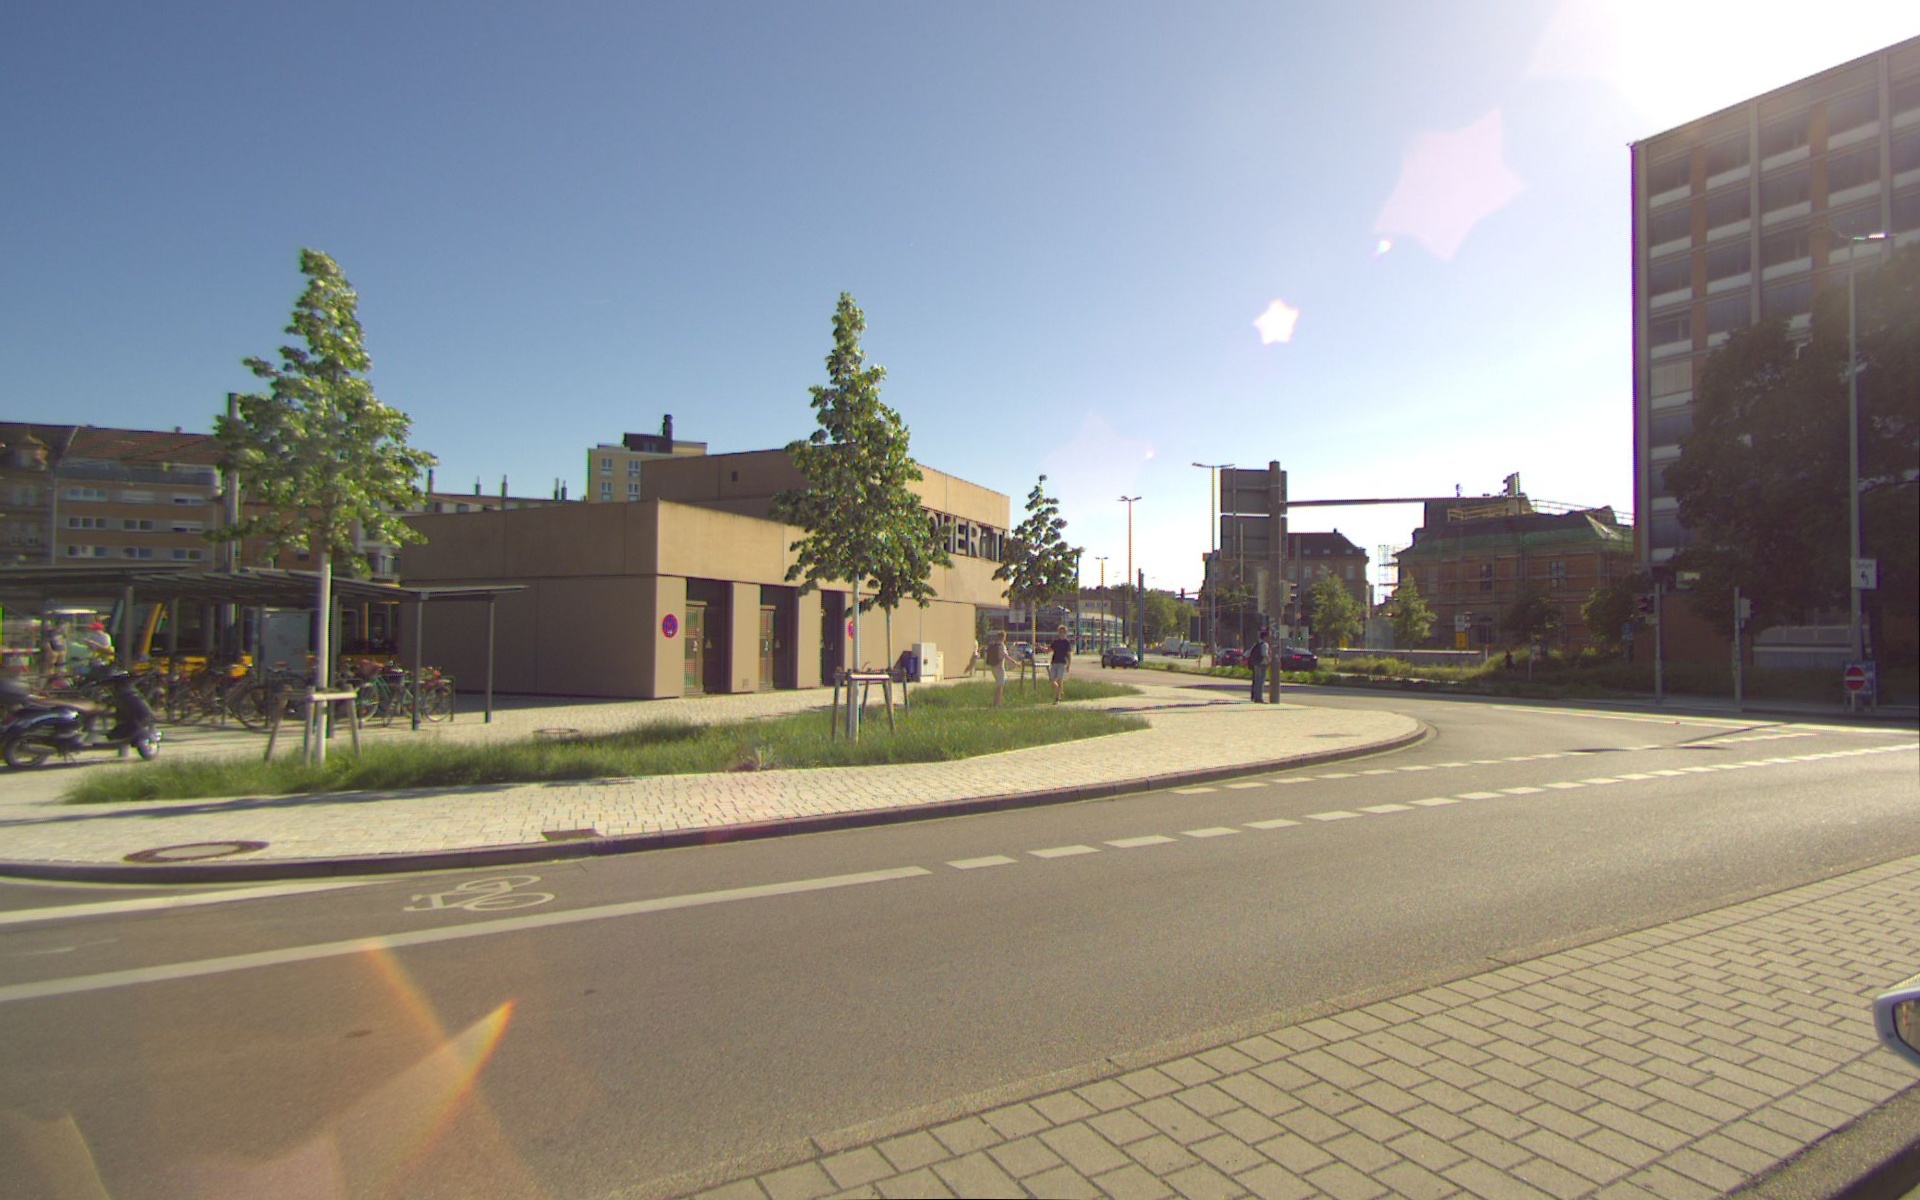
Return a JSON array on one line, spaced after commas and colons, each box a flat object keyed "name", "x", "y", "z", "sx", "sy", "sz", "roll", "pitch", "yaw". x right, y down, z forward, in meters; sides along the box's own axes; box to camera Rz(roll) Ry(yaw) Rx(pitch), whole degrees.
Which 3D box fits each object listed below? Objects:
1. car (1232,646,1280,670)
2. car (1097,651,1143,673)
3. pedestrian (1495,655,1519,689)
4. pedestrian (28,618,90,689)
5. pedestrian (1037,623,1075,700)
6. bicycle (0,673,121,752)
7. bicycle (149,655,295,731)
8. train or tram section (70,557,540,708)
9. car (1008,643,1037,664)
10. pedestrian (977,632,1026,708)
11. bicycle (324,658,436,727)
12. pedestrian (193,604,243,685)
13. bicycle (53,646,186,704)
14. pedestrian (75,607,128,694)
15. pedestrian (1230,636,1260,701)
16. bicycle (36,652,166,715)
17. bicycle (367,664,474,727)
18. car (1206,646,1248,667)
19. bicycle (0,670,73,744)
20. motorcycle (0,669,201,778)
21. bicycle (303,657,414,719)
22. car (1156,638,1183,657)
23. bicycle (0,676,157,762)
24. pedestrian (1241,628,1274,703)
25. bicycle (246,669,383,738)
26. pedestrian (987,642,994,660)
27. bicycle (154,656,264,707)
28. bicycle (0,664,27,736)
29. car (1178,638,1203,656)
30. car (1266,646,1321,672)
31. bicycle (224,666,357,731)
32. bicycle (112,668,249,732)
[{"name": "car", "x": 20.278, "y": 3.952, "z": 68.998, "sx": 1.962, "sy": 1.538, "sz": 3.818, "roll": 1, "pitch": -2, "yaw": -4}, {"name": "car", "x": 10.587, "y": 4.110, "z": 66.887, "sx": 1.963, "sy": 1.407, "sz": 3.996, "roll": 1, "pitch": -3, "yaw": -8}, {"name": "pedestrian", "x": 33.317, "y": 4.351, "z": 61.167, "sx": 0.995, "sy": 2.040, "sz": 0.826, "roll": 0, "pitch": -2, "yaw": -4}, {"name": "pedestrian", "x": -26.269, "y": 1.549, "z": 29.288, "sx": 0.854, "sy": 2.040, "sz": 1.012, "roll": 0, "pitch": -2, "yaw": 19}, {"name": "pedestrian", "x": 2.384, "y": 1.505, "z": 24.863, "sx": 0.825, "sy": 1.869, "sz": 0.867, "roll": 0, "pitch": -2, "yaw": 13}, {"name": "bicycle", "x": -13.127, "y": 1.565, "z": 14.072, "sx": 0.617, "sy": 1.021, "sz": 2.026, "roll": 0, "pitch": -2, "yaw": 25}, {"name": "bicycle", "x": -12.894, "y": 1.591, "z": 17.629, "sx": 0.496, "sy": 1.225, "sz": 2.051, "roll": 0, "pitch": -2, "yaw": 26}, {"name": "train or tram section", "x": -18.746, "y": 1.011, "z": 30.537, "sx": 2.702, "sy": 3.648, "sz": 12.318, "roll": 0, "pitch": -2, "yaw": 25}, {"name": "car", "x": 5.759, "y": 4.926, "z": 93.082, "sx": 1.963, "sy": 1.814, "sz": 3.995, "roll": 1, "pitch": -2, "yaw": -8}, {"name": "pedestrian", "x": 0.948, "y": 1.598, "z": 23.169, "sx": 1.005, "sy": 1.727, "sz": 0.838, "roll": 1, "pitch": -2, "yaw": -6}, {"name": "bicycle", "x": -10.748, "y": 1.684, "z": 18.683, "sx": 0.616, "sy": 1.161, "sz": 1.831, "roll": 0, "pitch": -2, "yaw": 18}, {"name": "pedestrian", "x": -17.569, "y": 1.048, "z": 23.805, "sx": 0.738, "sy": 1.880, "sz": 0.709, "roll": 1, "pitch": -2, "yaw": -19}, {"name": "bicycle", "x": -15.998, "y": 1.400, "z": 19.167, "sx": 0.617, "sy": 1.021, "sz": 1.828, "roll": 0, "pitch": -2, "yaw": 27}, {"name": "pedestrian", "x": -18.984, "y": 1.110, "z": 22.227, "sx": 0.671, "sy": 1.880, "sz": 0.602, "roll": 1, "pitch": -2, "yaw": -19}, {"name": "pedestrian", "x": 7.644, "y": 1.818, "z": 26.960, "sx": 0.594, "sy": 1.719, "sz": 0.634, "roll": 1, "pitch": -2, "yaw": -7}, {"name": "bicycle", "x": -16.917, "y": 1.619, "z": 19.829, "sx": 0.617, "sy": 1.146, "sz": 1.828, "roll": 0, "pitch": -2, "yaw": 27}, {"name": "bicycle", "x": -9.829, "y": 1.718, "z": 18.384, "sx": 0.616, "sy": 1.021, "sz": 1.832, "roll": 0, "pitch": -2, "yaw": 16}, {"name": "car", "x": 20.048, "y": 4.222, "z": 75.504, "sx": 1.962, "sy": 1.538, "sz": 3.818, "roll": 1, "pitch": -2, "yaw": -4}, {"name": "bicycle", "x": -14.111, "y": 1.557, "z": 14.513, "sx": 0.617, "sy": 1.021, "sz": 1.829, "roll": 0, "pitch": -2, "yaw": 25}, {"name": "motorcycle", "x": -10.926, "y": 1.486, "z": 12.476, "sx": 0.599, "sy": 1.173, "sz": 2.360, "roll": 0, "pitch": -2, "yaw": 25}, {"name": "bicycle", "x": -11.752, "y": 1.696, "z": 19.689, "sx": 0.617, "sy": 1.107, "sz": 1.829, "roll": 0, "pitch": -2, "yaw": 25}, {"name": "car", "x": 28.866, "y": 6.497, "z": 138.742, "sx": 2.952, "sy": 2.580, "sz": 6.963, "roll": 0, "pitch": -2, "yaw": 7}, {"name": "bicycle", "x": -12.044, "y": 1.566, "z": 13.521, "sx": 0.617, "sy": 1.021, "sz": 1.829, "roll": 0, "pitch": -2, "yaw": 25}, {"name": "pedestrian", "x": 7.599, "y": 1.664, "z": 25.635, "sx": 0.594, "sy": 1.880, "sz": 0.681, "roll": 1, "pitch": -2, "yaw": -7}, {"name": "bicycle", "x": -10.678, "y": 1.687, "z": 16.683, "sx": 0.617, "sy": 1.021, "sz": 1.828, "roll": 0, "pitch": -2, "yaw": 27}, {"name": "pedestrian", "x": 3.467, "y": 5.763, "z": 114.435, "sx": 0.708, "sy": 2.040, "sz": 0.717, "roll": 0, "pitch": -2, "yaw": 14}, {"name": "bicycle", "x": -16.264, "y": 1.742, "z": 21.804, "sx": 0.617, "sy": 1.021, "sz": 1.829, "roll": 0, "pitch": -2, "yaw": 25}, {"name": "bicycle", "x": -15.278, "y": 1.524, "z": 15.012, "sx": 0.617, "sy": 1.094, "sz": 1.829, "roll": 0, "pitch": -2, "yaw": 25}, {"name": "car", "x": 27.120, "y": 5.546, "z": 118.085, "sx": 2.031, "sy": 2.040, "sz": 5.018, "roll": 0, "pitch": -2, "yaw": 3}, {"name": "car", "x": 20.803, "y": 3.669, "z": 62.733, "sx": 1.962, "sy": 1.538, "sz": 3.818, "roll": 1, "pitch": -2, "yaw": -4}, {"name": "bicycle", "x": -11.621, "y": 1.688, "z": 17.500, "sx": 0.492, "sy": 1.010, "sz": 1.887, "roll": 0, "pitch": -2, "yaw": 31}, {"name": "bicycle", "x": -13.871, "y": 1.750, "z": 17.938, "sx": 0.617, "sy": 1.021, "sz": 1.828, "roll": 0, "pitch": -2, "yaw": 27}]
